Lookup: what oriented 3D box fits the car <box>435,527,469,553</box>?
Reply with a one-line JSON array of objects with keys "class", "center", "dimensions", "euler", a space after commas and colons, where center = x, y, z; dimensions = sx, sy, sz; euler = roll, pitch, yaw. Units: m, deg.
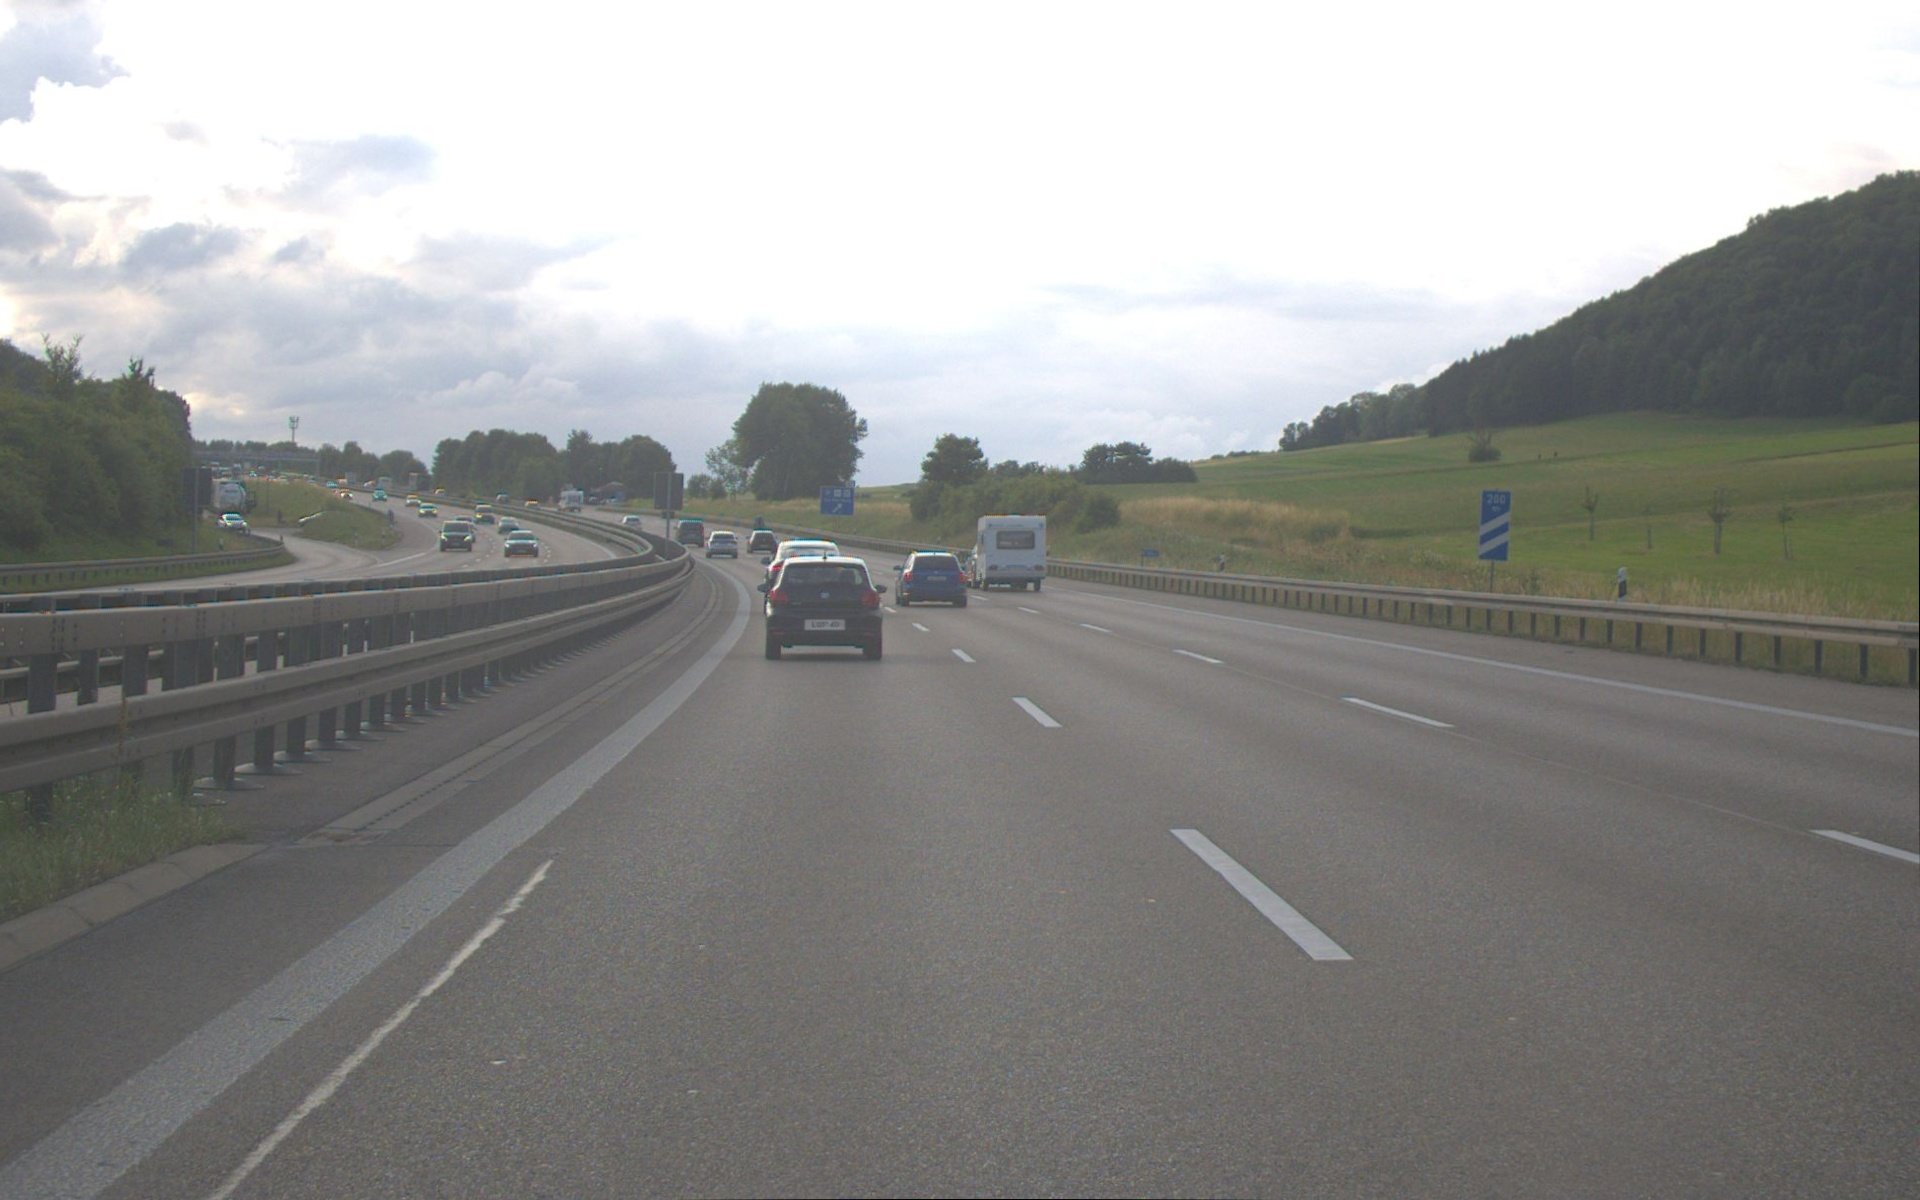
[{"class": "car", "center": [-31.606, -3.715, 214.119], "dimensions": [1.775, 1.590, 4.001], "euler": [1, 1, -4]}]

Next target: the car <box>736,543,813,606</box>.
[{"class": "car", "center": [-4.164, -0.598, 77.565], "dimensions": [1.565, 1.375, 4.000], "euler": [0, 1, -1]}]

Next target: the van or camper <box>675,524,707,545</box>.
[{"class": "van or camper", "center": [-18.964, -4.628, 242.667], "dimensions": [1.966, 1.428, 4.000], "euler": [1, 1, 0]}]

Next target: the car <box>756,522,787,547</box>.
[{"class": "car", "center": [-12.229, -4.234, 222.937], "dimensions": [1.957, 1.568, 4.000], "euler": [1, 1, -2]}]

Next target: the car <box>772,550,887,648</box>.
[{"class": "car", "center": [-1.909, -0.036, 49.620], "dimensions": [1.538, 1.343, 3.677], "euler": [1, 1, -4]}]

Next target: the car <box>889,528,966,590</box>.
[{"class": "car", "center": [-0.882, -1.067, 91.150], "dimensions": [1.767, 1.428, 4.000], "euler": [5, 0, -3]}]

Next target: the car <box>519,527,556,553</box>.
[{"class": "car", "center": [-23.726, -3.368, 193.192], "dimensions": [1.993, 1.425, 4.588], "euler": [1, 1, -6]}]

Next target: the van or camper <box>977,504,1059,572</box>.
[{"class": "van or camper", "center": [1.929, -2.088, 116.535], "dimensions": [2.547, 2.231, 5.329], "euler": [1, 1, -1]}]
